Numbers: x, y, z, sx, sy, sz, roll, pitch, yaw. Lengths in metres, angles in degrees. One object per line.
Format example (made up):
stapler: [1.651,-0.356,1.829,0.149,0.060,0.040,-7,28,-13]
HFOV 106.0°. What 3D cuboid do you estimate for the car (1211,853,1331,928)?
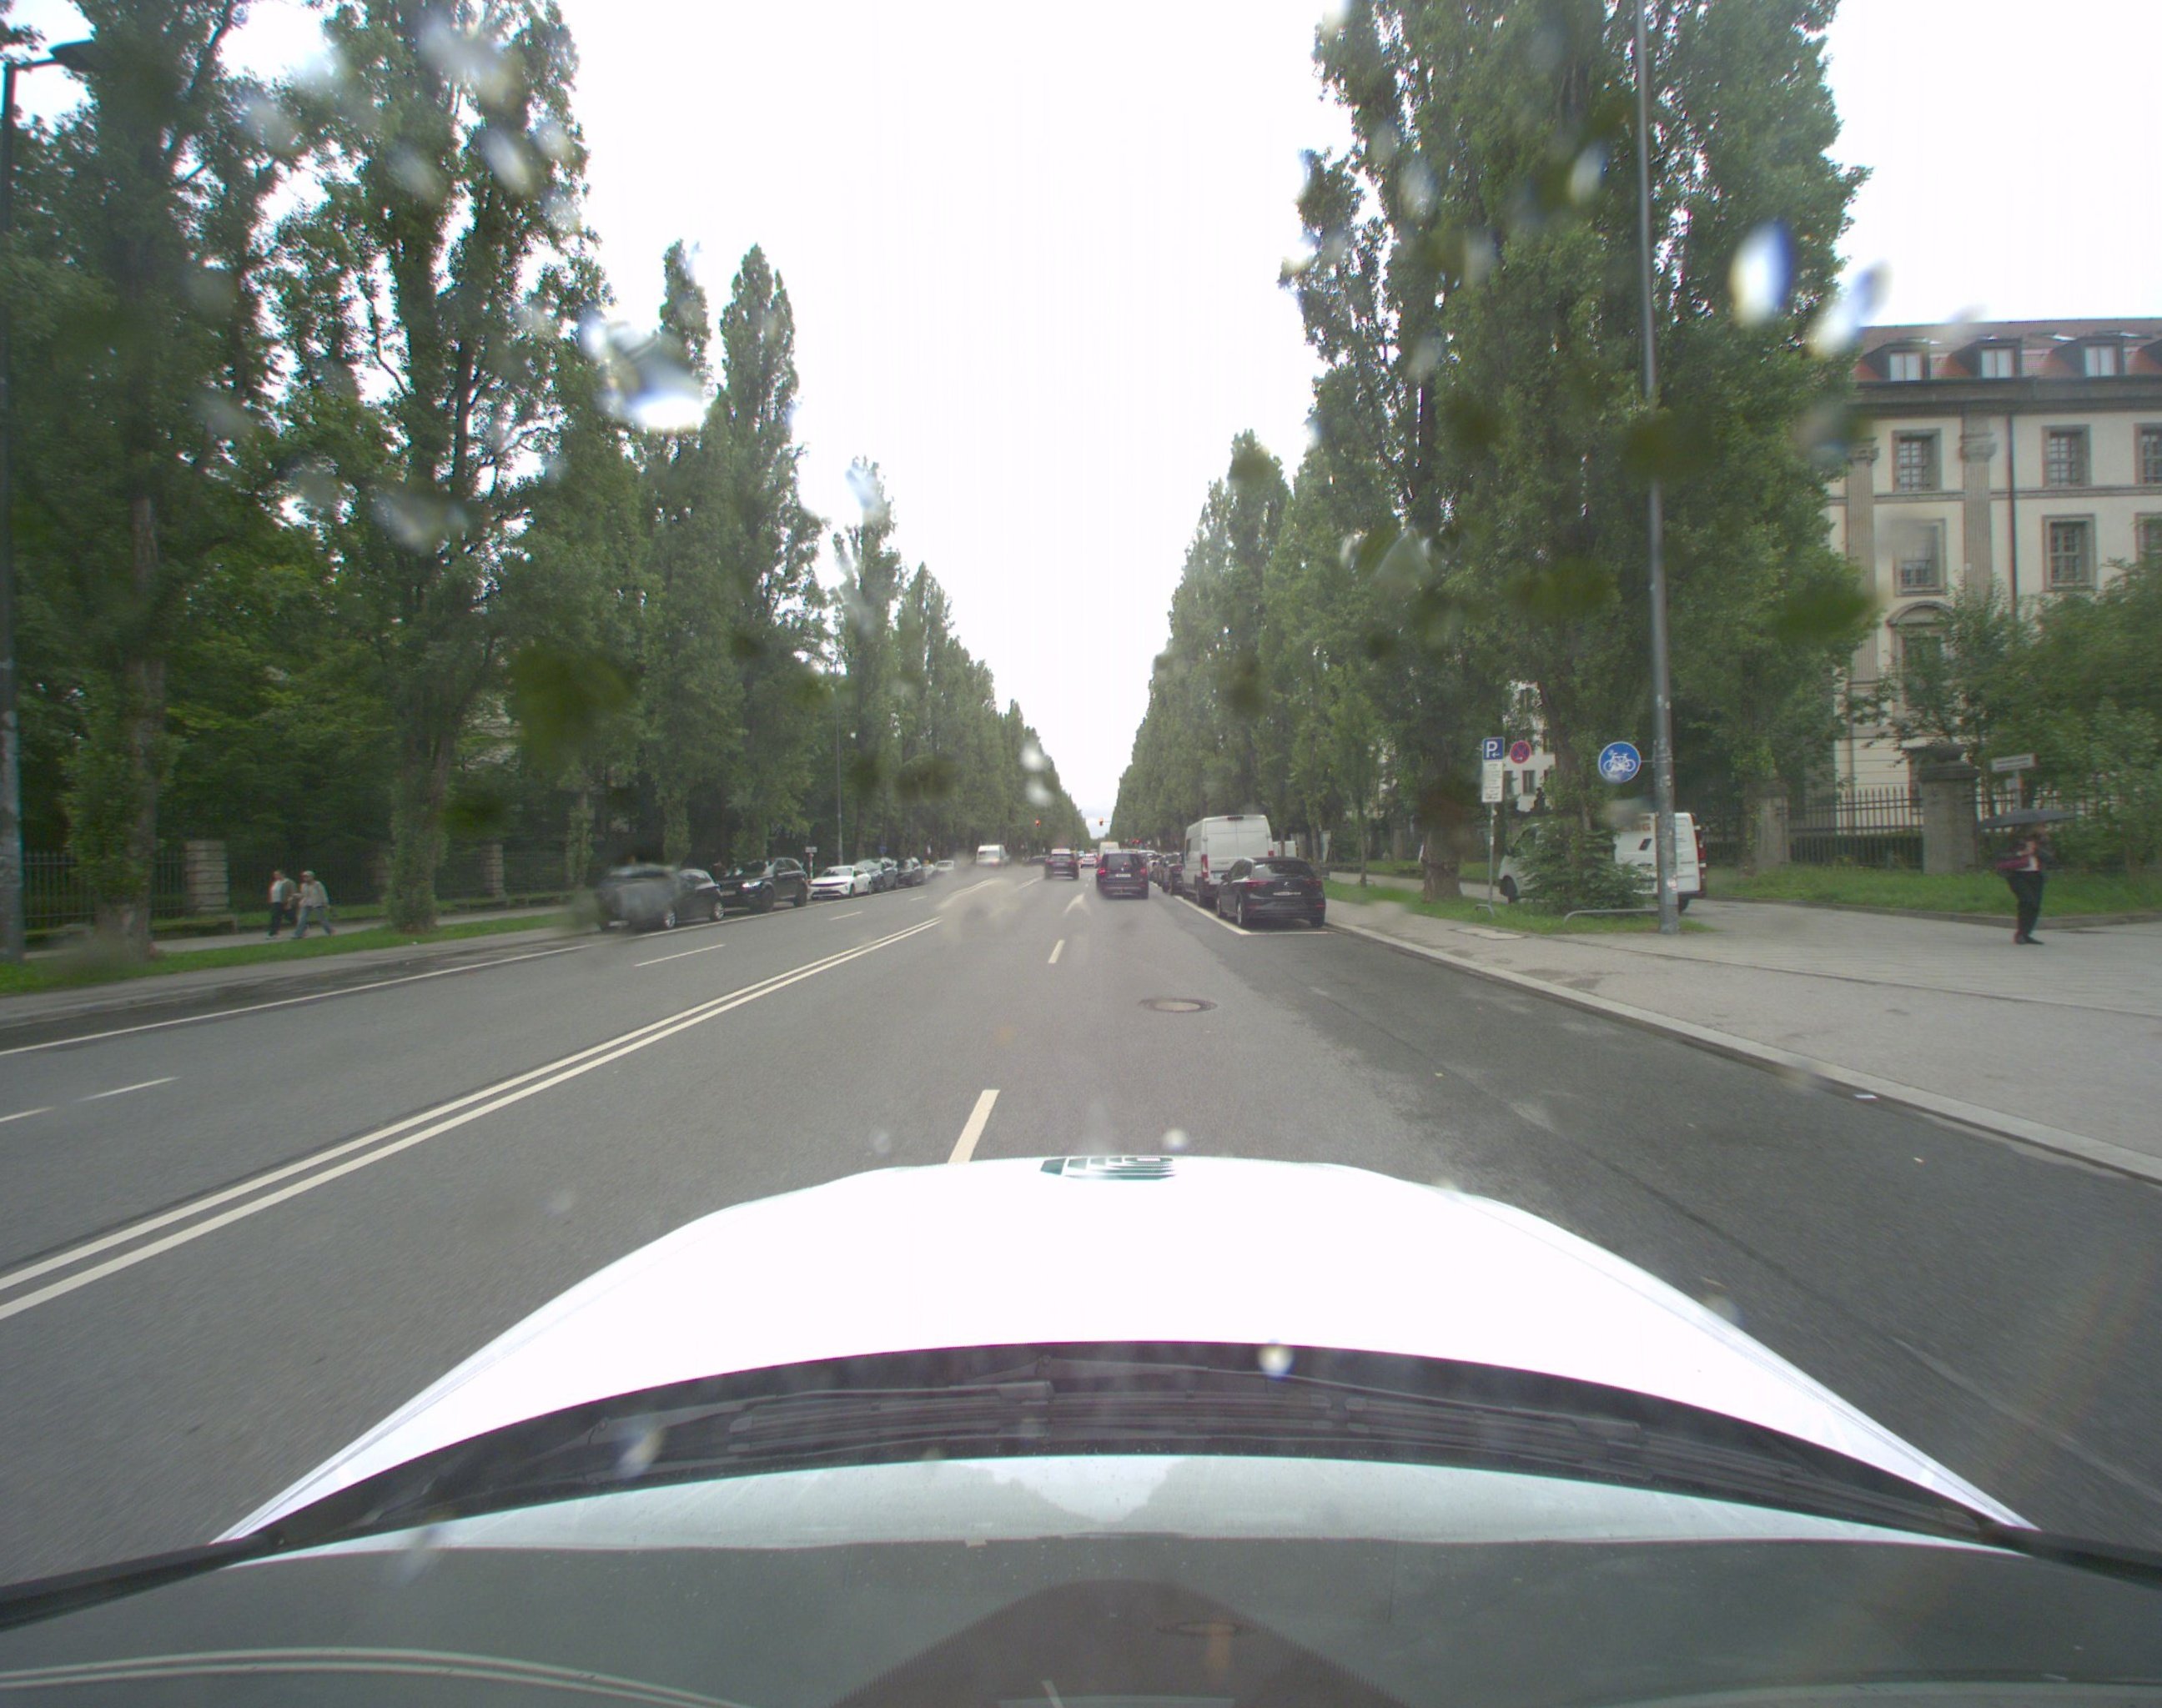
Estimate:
car: [3.999,0.706,17.763,1.670,1.420,4.000,-1,0,0]

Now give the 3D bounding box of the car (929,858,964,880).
car: [-10.163,1.111,61.760,1.765,1.452,4.233,-4,0,0]

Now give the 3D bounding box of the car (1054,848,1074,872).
car: [-1.565,0.586,73.880,1.776,2.112,4.022,-1,-1,-1]

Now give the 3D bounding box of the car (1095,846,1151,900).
car: [1.463,0.615,28.889,1.848,1.770,4.002,0,0,2]

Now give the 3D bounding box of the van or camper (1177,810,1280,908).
van or camper: [4.281,0.115,24.759,2.130,2.540,6.420,-1,0,2]

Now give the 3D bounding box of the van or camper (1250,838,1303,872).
van or camper: [11.768,0.061,49.370,2.068,1.933,5.371,-1,0,2]

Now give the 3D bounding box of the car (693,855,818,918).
car: [-10.940,1.019,27.805,2.038,1.786,4.803,-4,0,3]

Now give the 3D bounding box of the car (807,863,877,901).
car: [-10.587,1.209,36.383,1.698,1.459,4.274,-4,0,1]

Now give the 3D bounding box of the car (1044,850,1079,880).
car: [-1.106,0.613,47.158,1.774,1.620,4.027,1,0,2]

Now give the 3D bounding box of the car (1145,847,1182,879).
car: [4.655,0.482,46.478,1.736,1.675,4.582,-2,0,2]

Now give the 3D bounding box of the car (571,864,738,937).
car: [-11.246,1.147,21.879,1.937,1.583,4.391,-3,0,2]

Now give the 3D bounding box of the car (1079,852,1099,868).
car: [0.849,0.634,86.575,1.987,1.560,4.001,-2,0,1]

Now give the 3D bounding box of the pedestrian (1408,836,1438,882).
pedestrian: [13.448,0.190,32.043,0.792,1.768,0.895,-2,0,2]

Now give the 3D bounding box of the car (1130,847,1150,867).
car: [5.853,0.286,81.224,1.728,1.895,4.026,-2,0,2]

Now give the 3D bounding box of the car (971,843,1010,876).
car: [-7.446,0.408,67.700,2.220,2.483,6.759,-3,0,1]

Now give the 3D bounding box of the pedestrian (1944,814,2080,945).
pedestrian: [11.998,0.314,10.531,0.769,1.608,0.841,-2,0,4]

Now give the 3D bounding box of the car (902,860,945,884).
car: [-10.220,1.175,53.158,1.820,1.334,4.235,-4,0,1]

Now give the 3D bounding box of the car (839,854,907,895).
car: [-10.543,0.980,41.761,1.902,1.789,5.181,-4,0,1]

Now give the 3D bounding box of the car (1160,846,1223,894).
car: [4.161,0.559,31.406,1.779,1.648,4.417,-2,0,0]

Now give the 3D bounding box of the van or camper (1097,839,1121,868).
van or camper: [2.499,-0.047,74.079,1.969,2.548,4.024,-2,0,0]

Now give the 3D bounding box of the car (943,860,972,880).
car: [-9.964,1.259,66.003,1.704,1.451,3.586,-4,0,0]

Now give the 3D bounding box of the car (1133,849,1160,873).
car: [5.499,0.551,68.742,1.845,1.881,4.167,-2,0,0]

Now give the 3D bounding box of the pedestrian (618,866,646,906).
pedestrian: [-20.352,1.439,36.900,0.663,1.741,0.957,-2,0,2]

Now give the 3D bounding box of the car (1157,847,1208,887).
car: [4.475,0.529,36.517,1.777,1.618,4.640,-2,0,2]

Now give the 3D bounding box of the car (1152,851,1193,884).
car: [4.627,0.635,41.544,1.696,1.519,4.297,-2,0,2]

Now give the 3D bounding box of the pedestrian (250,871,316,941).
pedestrian: [-19.019,1.226,19.424,0.716,1.605,0.813,-2,0,0]

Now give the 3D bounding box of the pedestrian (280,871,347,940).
pedestrian: [-18.218,1.208,19.358,0.716,1.548,0.875,-2,0,0]

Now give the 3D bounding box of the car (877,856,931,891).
car: [-10.278,1.095,47.627,1.934,1.767,4.896,-4,0,0]

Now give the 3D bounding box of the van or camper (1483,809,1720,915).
van or camper: [10.839,0.129,17.524,1.968,1.933,5.039,-1,0,1]
